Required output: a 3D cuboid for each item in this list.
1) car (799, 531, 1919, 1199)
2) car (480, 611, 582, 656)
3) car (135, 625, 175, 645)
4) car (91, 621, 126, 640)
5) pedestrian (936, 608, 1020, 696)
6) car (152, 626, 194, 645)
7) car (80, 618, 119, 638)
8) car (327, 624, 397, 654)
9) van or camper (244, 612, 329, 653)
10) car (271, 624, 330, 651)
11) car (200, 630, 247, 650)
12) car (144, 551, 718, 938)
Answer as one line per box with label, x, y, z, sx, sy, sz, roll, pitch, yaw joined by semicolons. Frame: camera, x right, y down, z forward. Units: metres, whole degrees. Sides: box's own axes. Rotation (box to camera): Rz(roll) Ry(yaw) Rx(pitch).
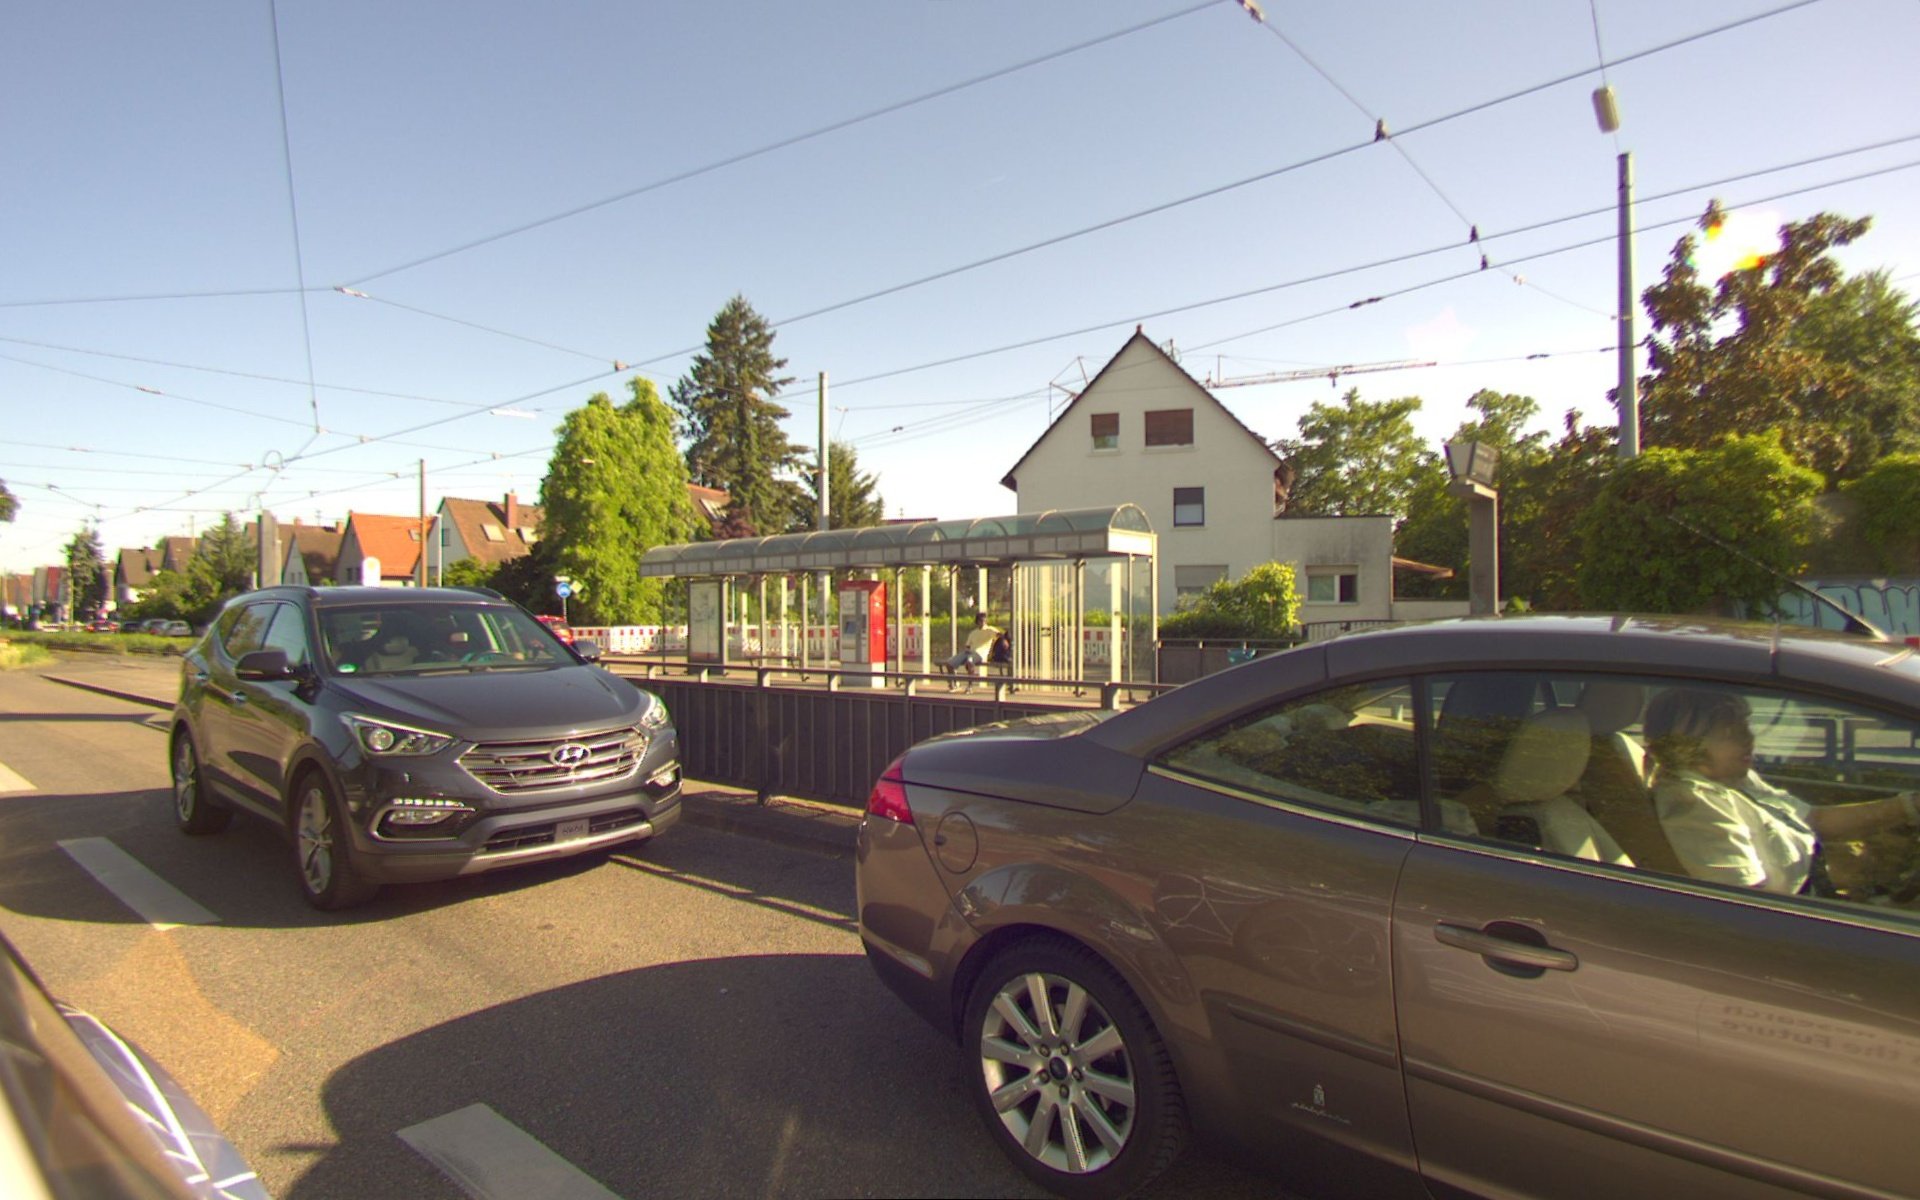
car;1.726;0.649;2.272;4.331;1.461;1.757;-2;-2;41
car;-14.408;1.108;33.905;4.014;1.413;1.587;-2;-2;41
car;-69.213;2.979;86.960;4.534;1.573;1.864;-2;0;41
car;-84.633;3.011;100.542;4.582;1.877;1.973;-2;-1;41
pedestrian;0.315;0.896;17.509;1.006;1.464;1.050;-1;-3;40
car;-65.215;2.912;83.867;4.837;1.483;1.864;-2;0;42
car;-68.376;2.235;80.401;4.341;1.532;1.717;-2;-2;41
car;-32.987;2.117;55.798;4.610;1.483;1.865;-1;0;40
van or camper;-33.762;1.637;50.649;5.984;1.842;1.973;-3;0;41
car;-40.479;2.272;62.088;4.438;1.477;1.887;-1;0;41
car;-54.267;2.946;74.558;4.308;1.382;1.972;-2;-1;42
car;-3.536;0.670;6.381;4.285;1.642;1.757;-2;-2;41
